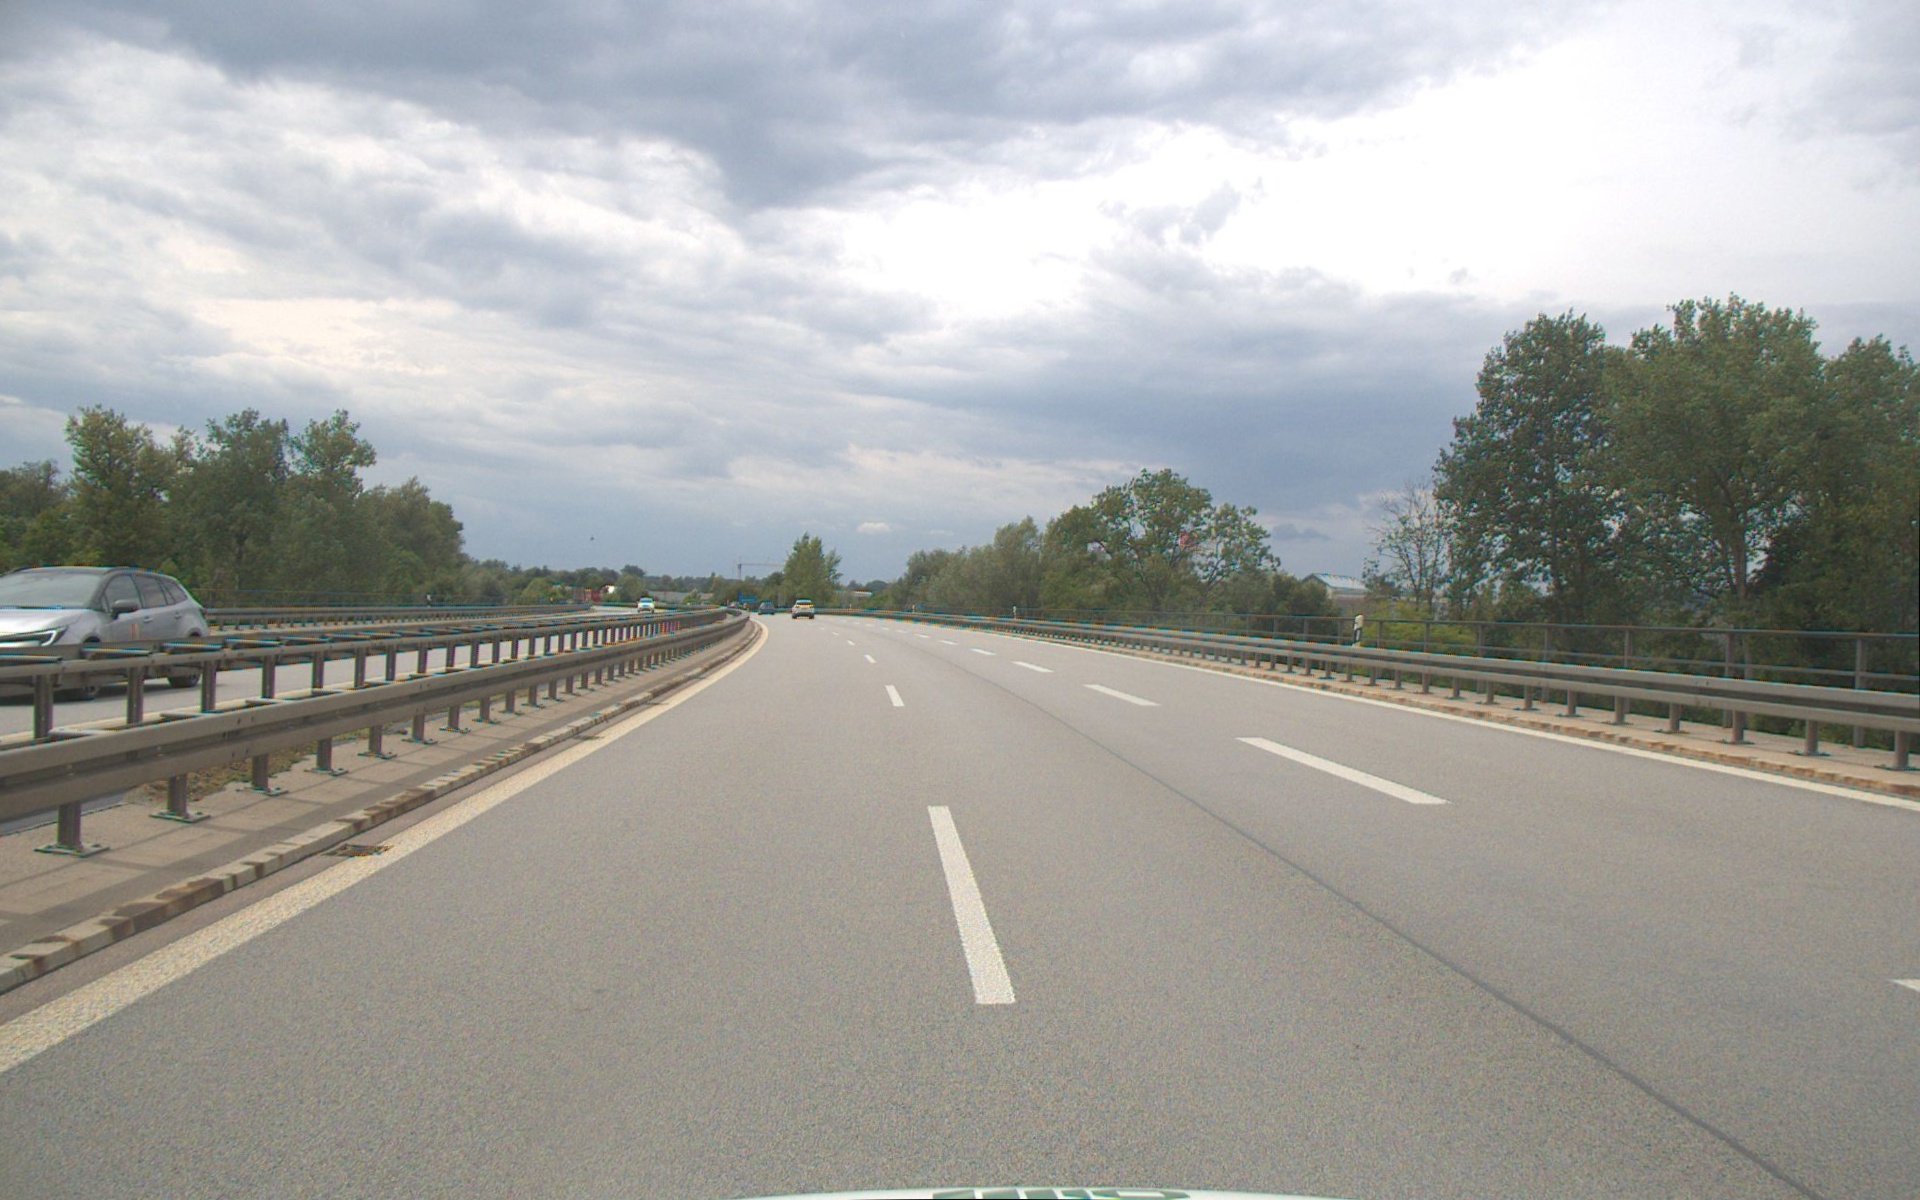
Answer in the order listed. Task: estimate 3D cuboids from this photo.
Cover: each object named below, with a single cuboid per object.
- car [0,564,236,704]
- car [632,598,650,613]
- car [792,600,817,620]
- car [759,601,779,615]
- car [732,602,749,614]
[{"bbox_3d":[-10.013,0.331,18.909,1.737,1.411,4.385,1,0,-3],"label":"car"},{"bbox_3d":[-32.920,0.572,170.932,1.502,1.431,4.322,1,0,-7],"label":"car"},{"bbox_3d":[-14.044,0.893,149.294,1.867,1.668,4.386,1,0,-9],"label":"car"},{"bbox_3d":[-22.604,0.934,195.417,1.859,1.668,4.607,1,0,-13],"label":"car"},{"bbox_3d":[-31.338,1.115,236.118,1.869,1.668,4.764,1,0,-13],"label":"car"}]
